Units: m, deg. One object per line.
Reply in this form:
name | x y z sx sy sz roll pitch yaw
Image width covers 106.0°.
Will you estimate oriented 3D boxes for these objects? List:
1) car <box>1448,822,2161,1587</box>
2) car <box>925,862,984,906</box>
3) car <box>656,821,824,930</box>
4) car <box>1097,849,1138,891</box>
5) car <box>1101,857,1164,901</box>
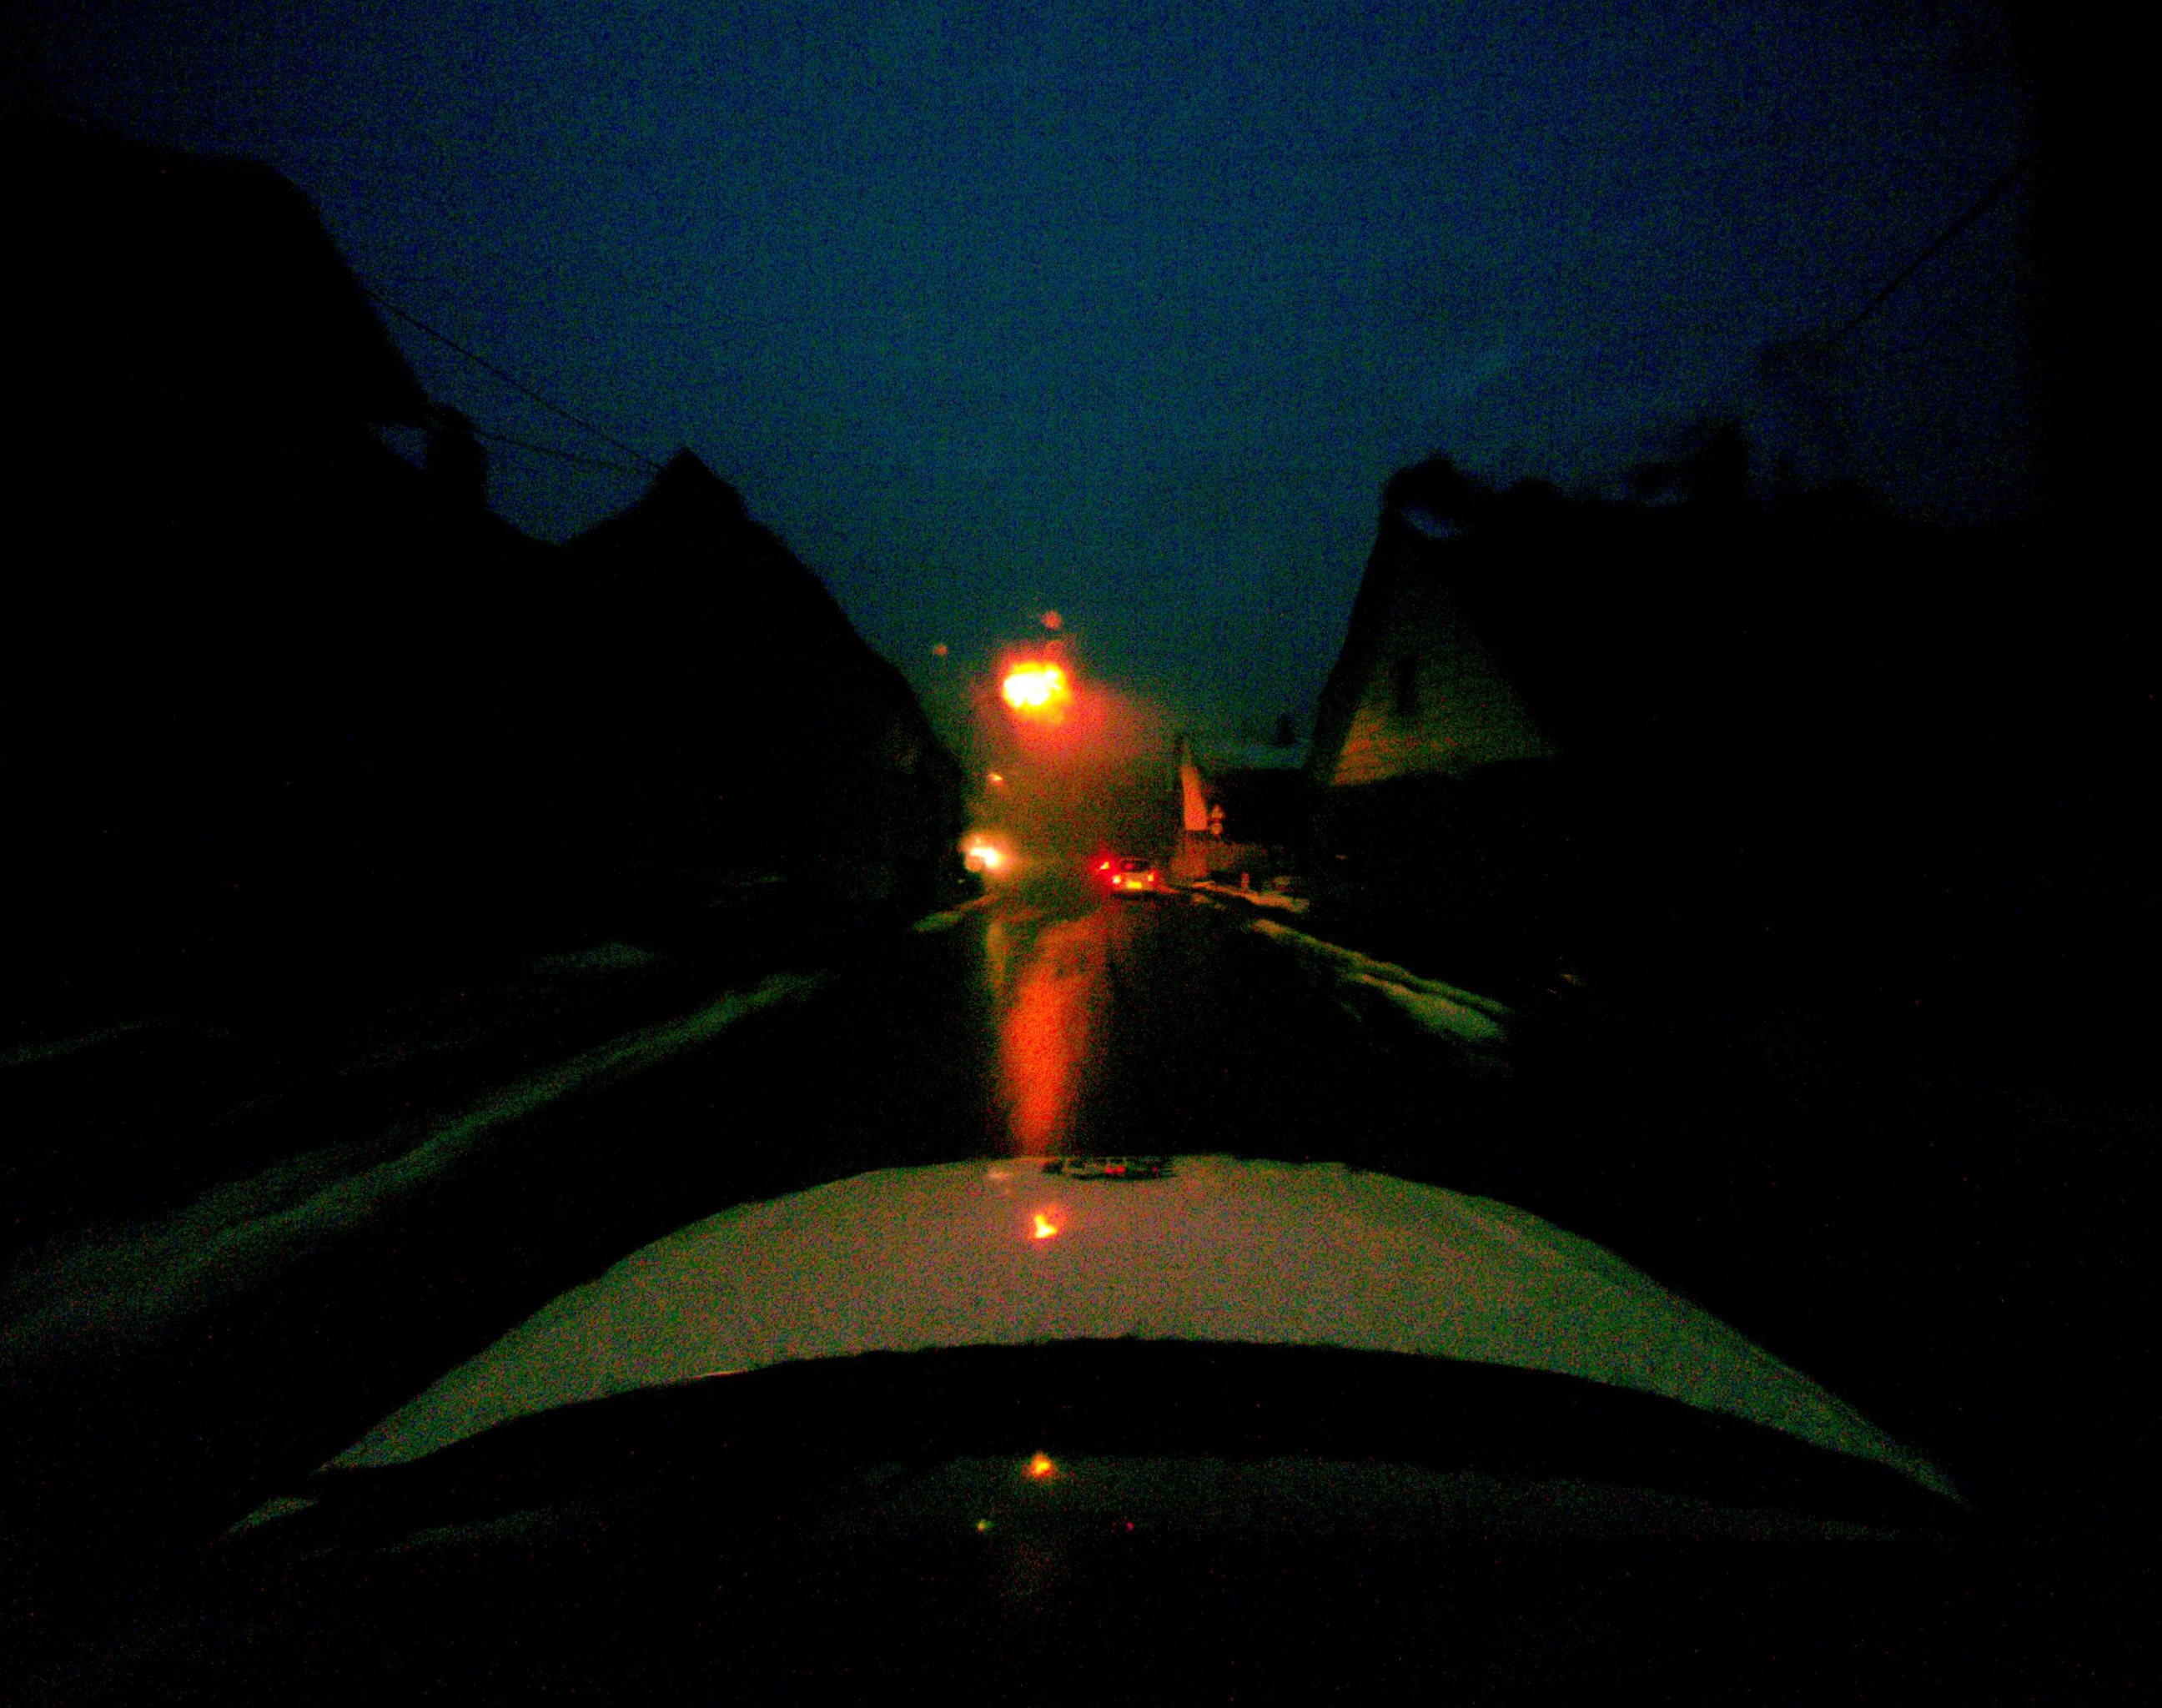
car | 3.102 0.686 2.811 1.903 1.481 4.284 0 -1 3
car | -5.108 1.178 33.370 1.989 1.522 4.185 1 1 -4
car | -6.511 0.361 16.133 1.763 1.736 4.627 4 0 -7
car | 1.875 0.840 42.608 1.986 2.014 4.001 2 -2 2
car | 1.865 0.938 30.779 1.988 1.508 3.997 2 -2 -1
